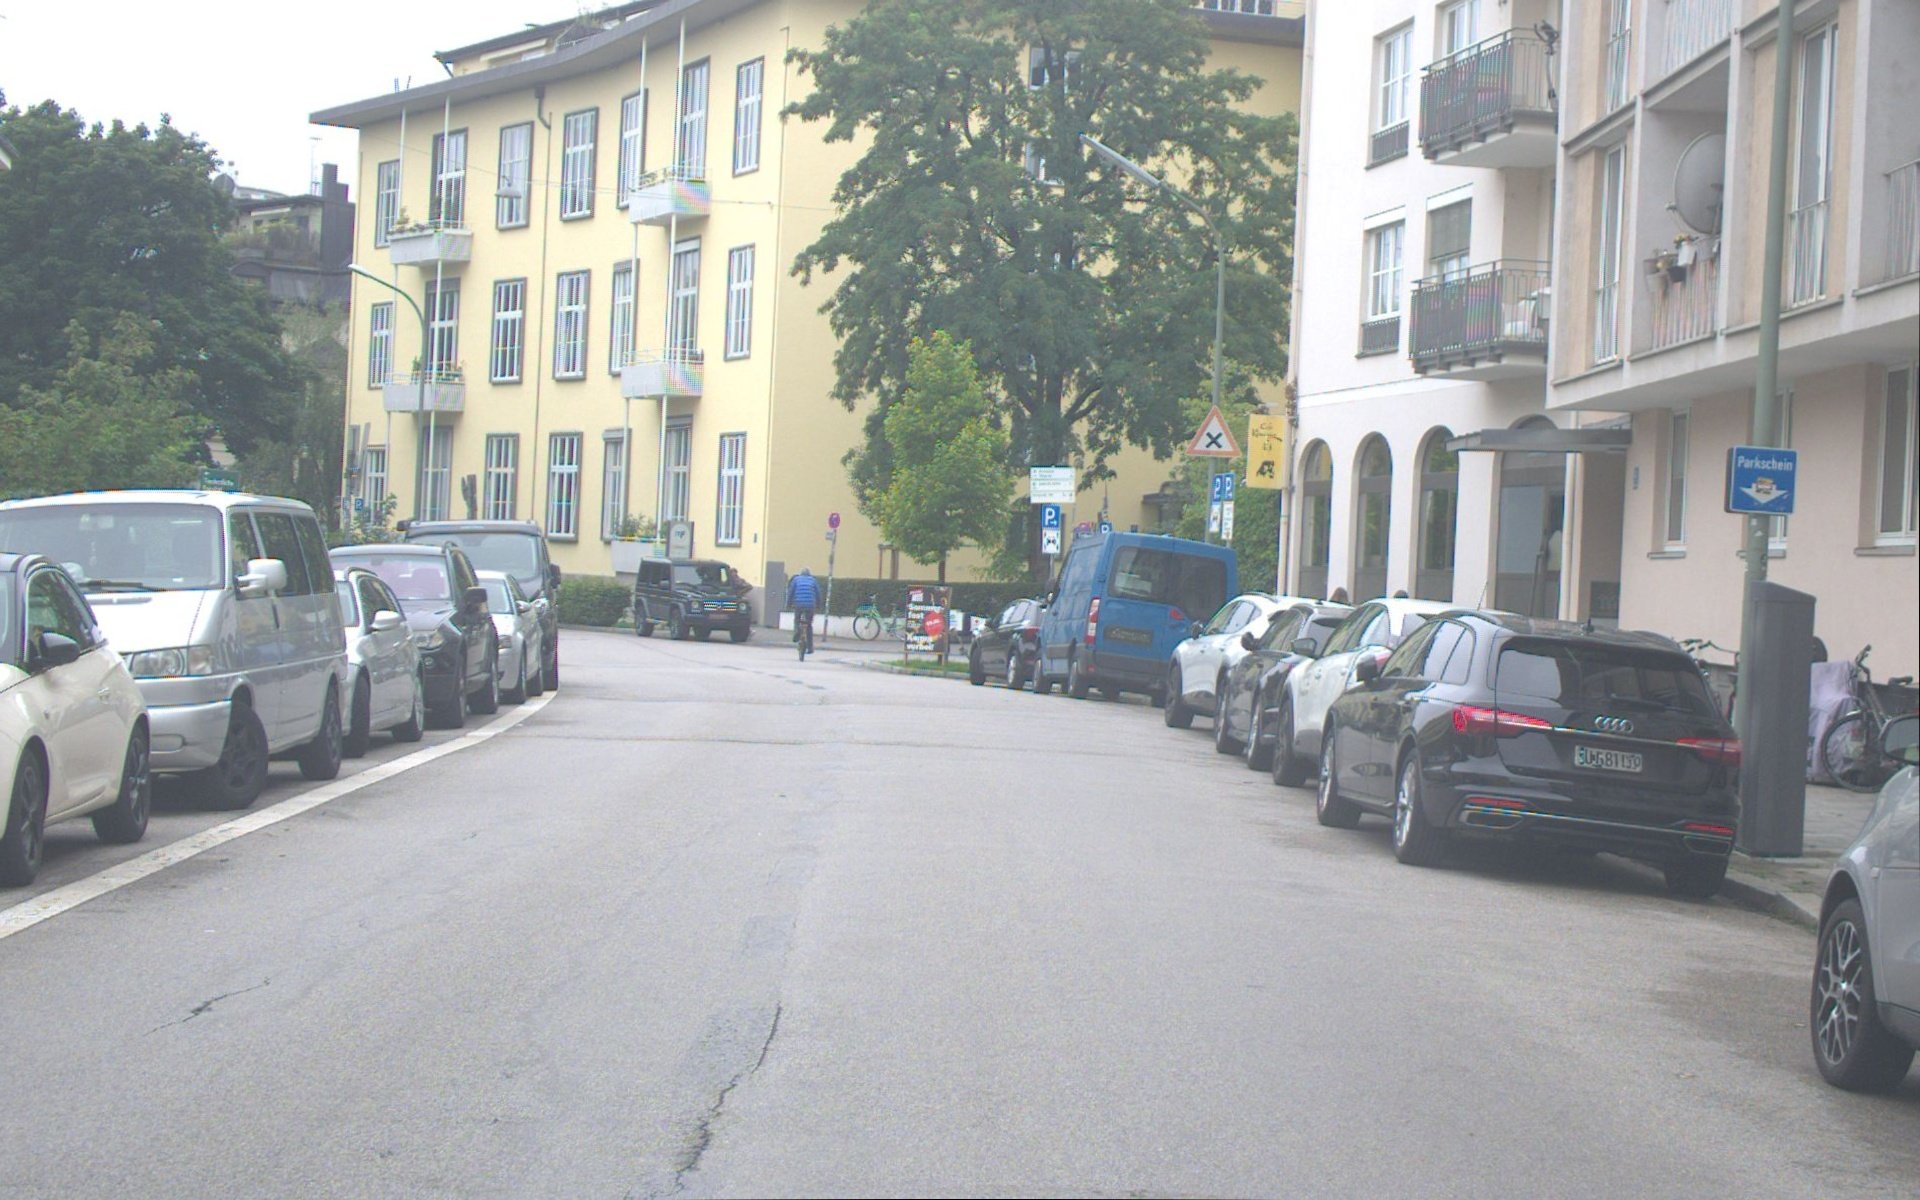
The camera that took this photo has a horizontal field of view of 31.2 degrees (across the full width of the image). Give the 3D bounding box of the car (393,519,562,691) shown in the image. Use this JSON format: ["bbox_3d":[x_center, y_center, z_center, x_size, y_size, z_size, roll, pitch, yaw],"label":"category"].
[{"bbox_3d":[-5.871,0.014,42.223,1.925,1.972,4.624,-1,1,-7],"label":"car"}]

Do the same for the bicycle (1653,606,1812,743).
[{"bbox_3d":[6.959,0.665,30.971,1.337,1.198,0.394,-1,0,-15],"label":"bicycle"}]

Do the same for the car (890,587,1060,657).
[{"bbox_3d":[0.324,0.481,77.239,3.714,1.401,1.753,2,1,-1],"label":"car"}]

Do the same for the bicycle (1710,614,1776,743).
[{"bbox_3d":[7.441,0.732,32.700,0.393,1.198,1.342,-1,0,4],"label":"bicycle"}]

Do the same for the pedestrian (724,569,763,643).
[{"bbox_3d":[-5.296,0.141,84.066,0.848,1.751,0.954,2,1,-8],"label":"pedestrian"}]

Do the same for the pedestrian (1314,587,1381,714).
[{"bbox_3d":[5.028,0.653,44.678,0.678,1.623,0.830,1,-1,-5],"label":"pedestrian"}]

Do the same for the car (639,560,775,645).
[{"bbox_3d":[-6.198,0.045,83.697,1.873,1.881,4.620,2,1,-23],"label":"car"}]

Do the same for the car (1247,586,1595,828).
[{"bbox_3d":[3.348,0.727,25.727,1.702,1.463,4.120,7,0,-3],"label":"car"}]

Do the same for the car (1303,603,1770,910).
[{"bbox_3d":[3.222,0.817,20.114,1.827,1.377,4.491,5,1,-1],"label":"car"}]

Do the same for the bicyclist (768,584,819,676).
[{"bbox_3d":[-3.271,0.581,67.455,0.914,1.758,1.215,2,1,-2],"label":"bicyclist"}]

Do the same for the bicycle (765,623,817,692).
[{"bbox_3d":[-3.298,1.122,67.420,0.921,1.248,2.322,2,1,-2],"label":"bicycle"}]

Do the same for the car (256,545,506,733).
[{"bbox_3d":[-5.297,0.310,31.954,1.702,1.601,4.491,-1,1,-2],"label":"car"}]

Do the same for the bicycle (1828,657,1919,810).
[{"bbox_3d":[7.451,1.053,27.535,0.513,1.153,1.601,1,0,-2],"label":"bicycle"}]

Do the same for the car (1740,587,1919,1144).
[{"bbox_3d":[3.518,0.822,9.909,1.614,1.511,3.380,6,1,0],"label":"car"}]

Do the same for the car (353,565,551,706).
[{"bbox_3d":[-5.429,0.343,37.140,1.706,1.361,4.002,-2,1,-3],"label":"car"}]

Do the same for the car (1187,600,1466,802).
[{"bbox_3d":[3.180,0.831,30.696,1.772,1.424,4.693,7,0,-1],"label":"car"}]

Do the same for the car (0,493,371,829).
[{"bbox_3d":[-4.980,0.305,21.193,1.893,1.792,4.881,-2,1,-1],"label":"car"}]

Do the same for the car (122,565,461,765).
[{"bbox_3d":[-5.146,0.450,27.034,1.804,1.373,4.491,-2,0,-1],"label":"car"}]

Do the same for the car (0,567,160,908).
[{"bbox_3d":[-4.920,0.566,16.016,1.666,1.404,3.559,-1,1,-2],"label":"car"}]

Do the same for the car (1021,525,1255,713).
[{"bbox_3d":[2.370,0.298,47.295,2.109,2.206,5.029,7,-2,-7],"label":"car"}]

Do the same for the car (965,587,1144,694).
[{"bbox_3d":[1.413,0.595,53.190,1.714,1.390,4.001,6,0,-13],"label":"car"}]

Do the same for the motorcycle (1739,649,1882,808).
[{"bbox_3d":[7.326,1.088,29.710,0.635,1.267,2.041,1,0,-2],"label":"motorcycle"}]

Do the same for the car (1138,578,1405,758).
[{"bbox_3d":[3.188,0.661,36.045,1.775,1.517,4.305,6,1,-7],"label":"car"}]
